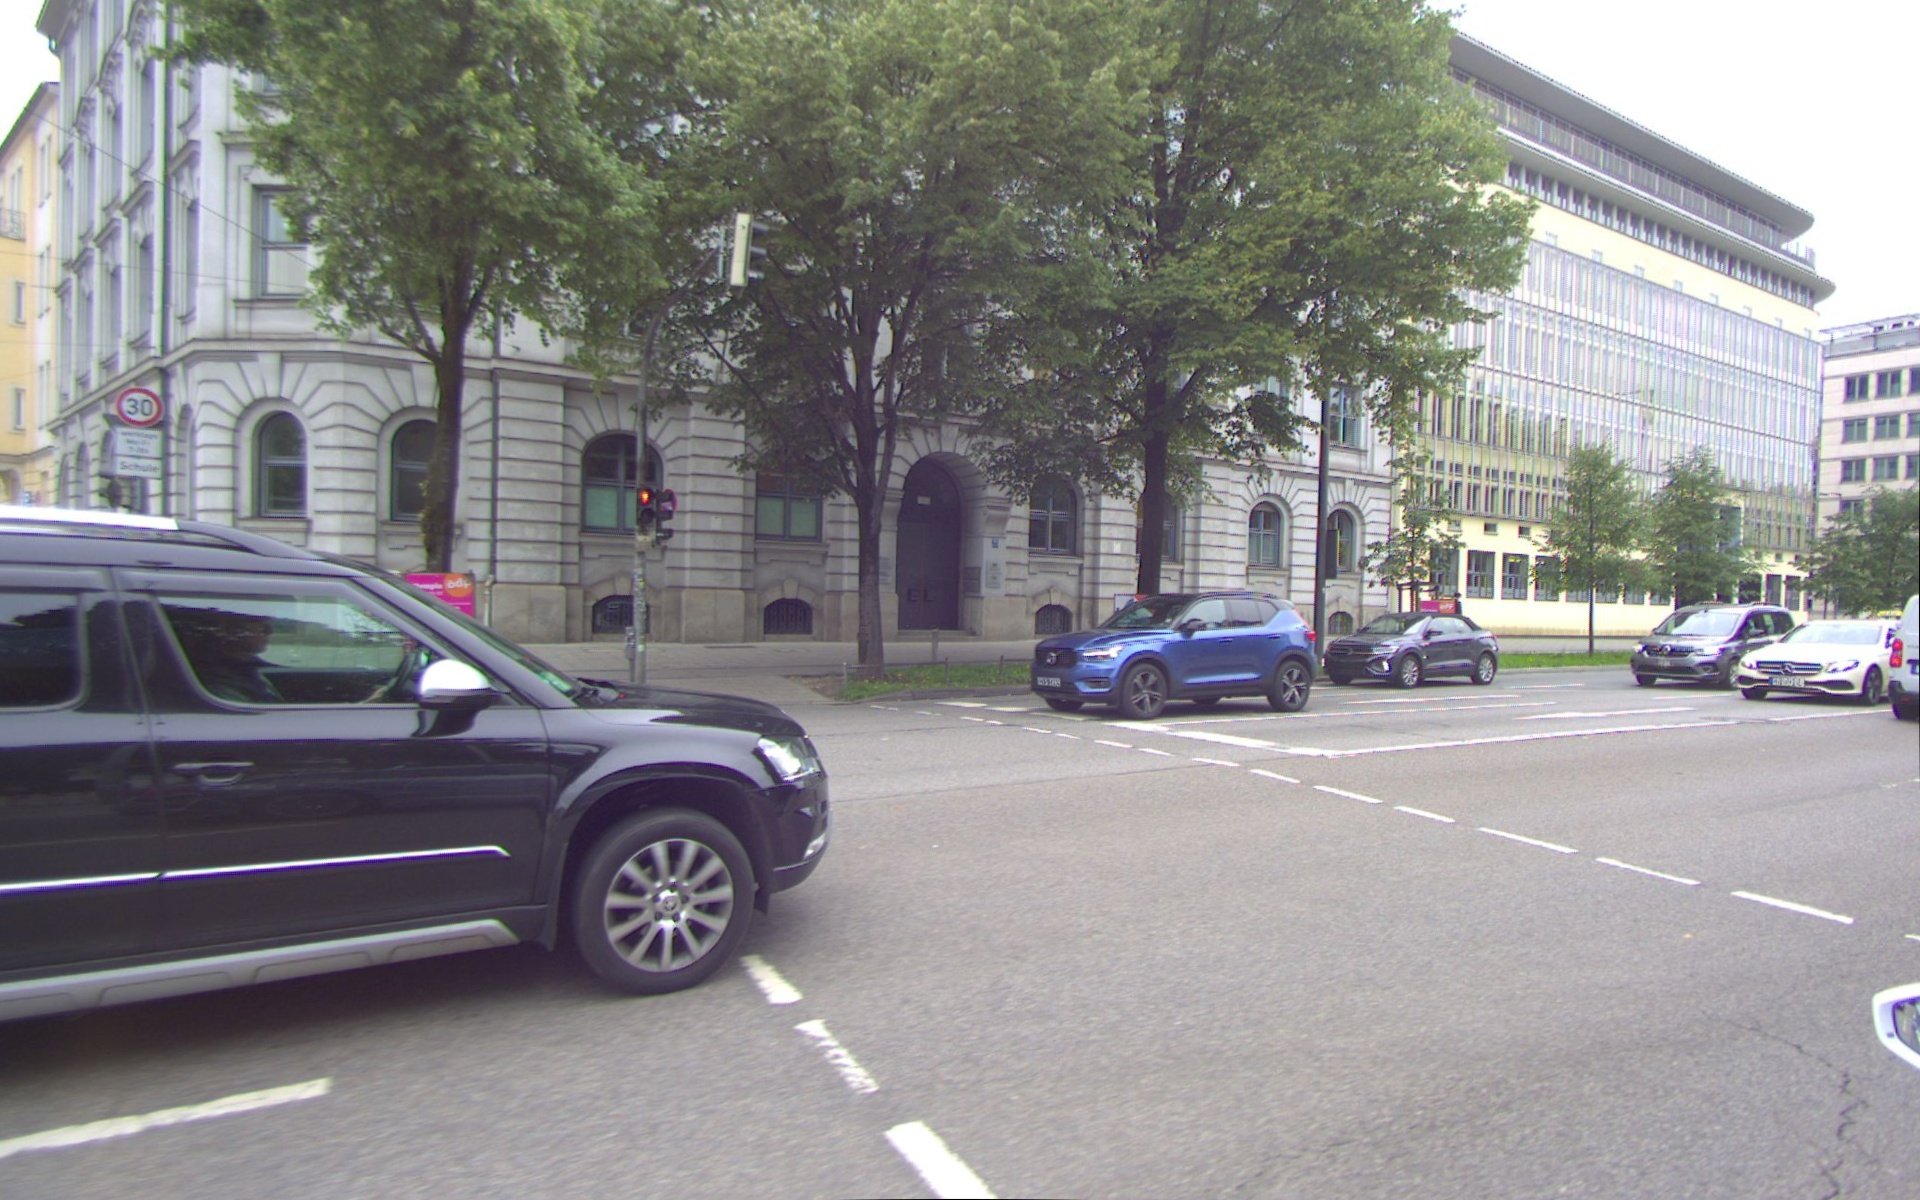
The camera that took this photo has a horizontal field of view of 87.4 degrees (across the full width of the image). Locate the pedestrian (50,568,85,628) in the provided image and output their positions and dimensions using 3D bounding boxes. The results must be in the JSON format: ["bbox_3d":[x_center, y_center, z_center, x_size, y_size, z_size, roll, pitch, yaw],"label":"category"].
[{"bbox_3d":[-24.411,-0.060,27.477,0.568,1.617,0.645,3,2,39],"label":"pedestrian"}]

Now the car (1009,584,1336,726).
[{"bbox_3d":[2.956,0.684,13.763,4.299,1.677,1.831,1,-1,-31],"label":"car"}]

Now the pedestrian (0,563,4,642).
[{"bbox_3d":[-25.345,0.051,25.968,0.768,2.041,0.799,3,2,39],"label":"pedestrian"}]

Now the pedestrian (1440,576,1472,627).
[{"bbox_3d":[18.021,0.051,36.494,0.826,1.801,0.612,0,2,-30],"label":"pedestrian"}]

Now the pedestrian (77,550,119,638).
[{"bbox_3d":[-20.416,-0.145,23.791,0.570,2.041,0.664,3,2,39],"label":"pedestrian"}]

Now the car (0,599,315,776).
[{"bbox_3d":[-8.925,0.802,10.092,4.009,1.597,1.726,1,0,-31],"label":"car"}]

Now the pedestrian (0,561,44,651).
[{"bbox_3d":[-21.881,0.121,23.314,0.768,2.041,0.799,3,2,39],"label":"pedestrian"}]

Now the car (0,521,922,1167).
[{"bbox_3d":[-2.367,0.628,3.632,4.156,1.658,1.714,1,0,-31],"label":"car"}]

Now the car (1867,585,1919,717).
[{"bbox_3d":[15.822,0.752,15.118,4.899,1.872,1.888,1,0,-31],"label":"car"}]

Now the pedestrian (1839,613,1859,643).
[{"bbox_3d":[55.295,1.744,62.467,0.665,1.799,0.680,0,2,-26],"label":"pedestrian"}]

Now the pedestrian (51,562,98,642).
[{"bbox_3d":[-23.133,0.032,26.246,0.768,2.041,0.799,3,2,39],"label":"pedestrian"}]

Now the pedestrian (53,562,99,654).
[{"bbox_3d":[-20.167,0.171,22.926,0.768,2.041,0.664,3,2,39],"label":"pedestrian"}]

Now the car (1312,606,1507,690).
[{"bbox_3d":[9.420,0.940,21.013,4.009,1.597,1.726,1,0,-31],"label":"car"}]

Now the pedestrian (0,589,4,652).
[{"bbox_3d":[-29.205,0.611,30.166,0.670,1.879,0.625,1,1,40],"label":"pedestrian"}]

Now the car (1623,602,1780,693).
[{"bbox_3d":[16.212,0.961,21.892,4.225,1.773,1.812,1,0,-40],"label":"car"}]

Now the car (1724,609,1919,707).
[{"bbox_3d":[16.016,0.980,18.506,4.777,1.563,1.815,1,0,-37],"label":"car"}]

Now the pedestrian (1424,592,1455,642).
[{"bbox_3d":[17.698,0.620,37.058,0.826,1.801,0.612,0,2,-30],"label":"pedestrian"}]

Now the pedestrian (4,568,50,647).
[{"bbox_3d":[-24.755,0.184,26.656,0.768,2.041,0.799,3,2,39],"label":"pedestrian"}]

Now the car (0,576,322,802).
[{"bbox_3d":[-7.408,0.656,7.856,3.951,1.617,1.736,0,-1,-29],"label":"car"}]
